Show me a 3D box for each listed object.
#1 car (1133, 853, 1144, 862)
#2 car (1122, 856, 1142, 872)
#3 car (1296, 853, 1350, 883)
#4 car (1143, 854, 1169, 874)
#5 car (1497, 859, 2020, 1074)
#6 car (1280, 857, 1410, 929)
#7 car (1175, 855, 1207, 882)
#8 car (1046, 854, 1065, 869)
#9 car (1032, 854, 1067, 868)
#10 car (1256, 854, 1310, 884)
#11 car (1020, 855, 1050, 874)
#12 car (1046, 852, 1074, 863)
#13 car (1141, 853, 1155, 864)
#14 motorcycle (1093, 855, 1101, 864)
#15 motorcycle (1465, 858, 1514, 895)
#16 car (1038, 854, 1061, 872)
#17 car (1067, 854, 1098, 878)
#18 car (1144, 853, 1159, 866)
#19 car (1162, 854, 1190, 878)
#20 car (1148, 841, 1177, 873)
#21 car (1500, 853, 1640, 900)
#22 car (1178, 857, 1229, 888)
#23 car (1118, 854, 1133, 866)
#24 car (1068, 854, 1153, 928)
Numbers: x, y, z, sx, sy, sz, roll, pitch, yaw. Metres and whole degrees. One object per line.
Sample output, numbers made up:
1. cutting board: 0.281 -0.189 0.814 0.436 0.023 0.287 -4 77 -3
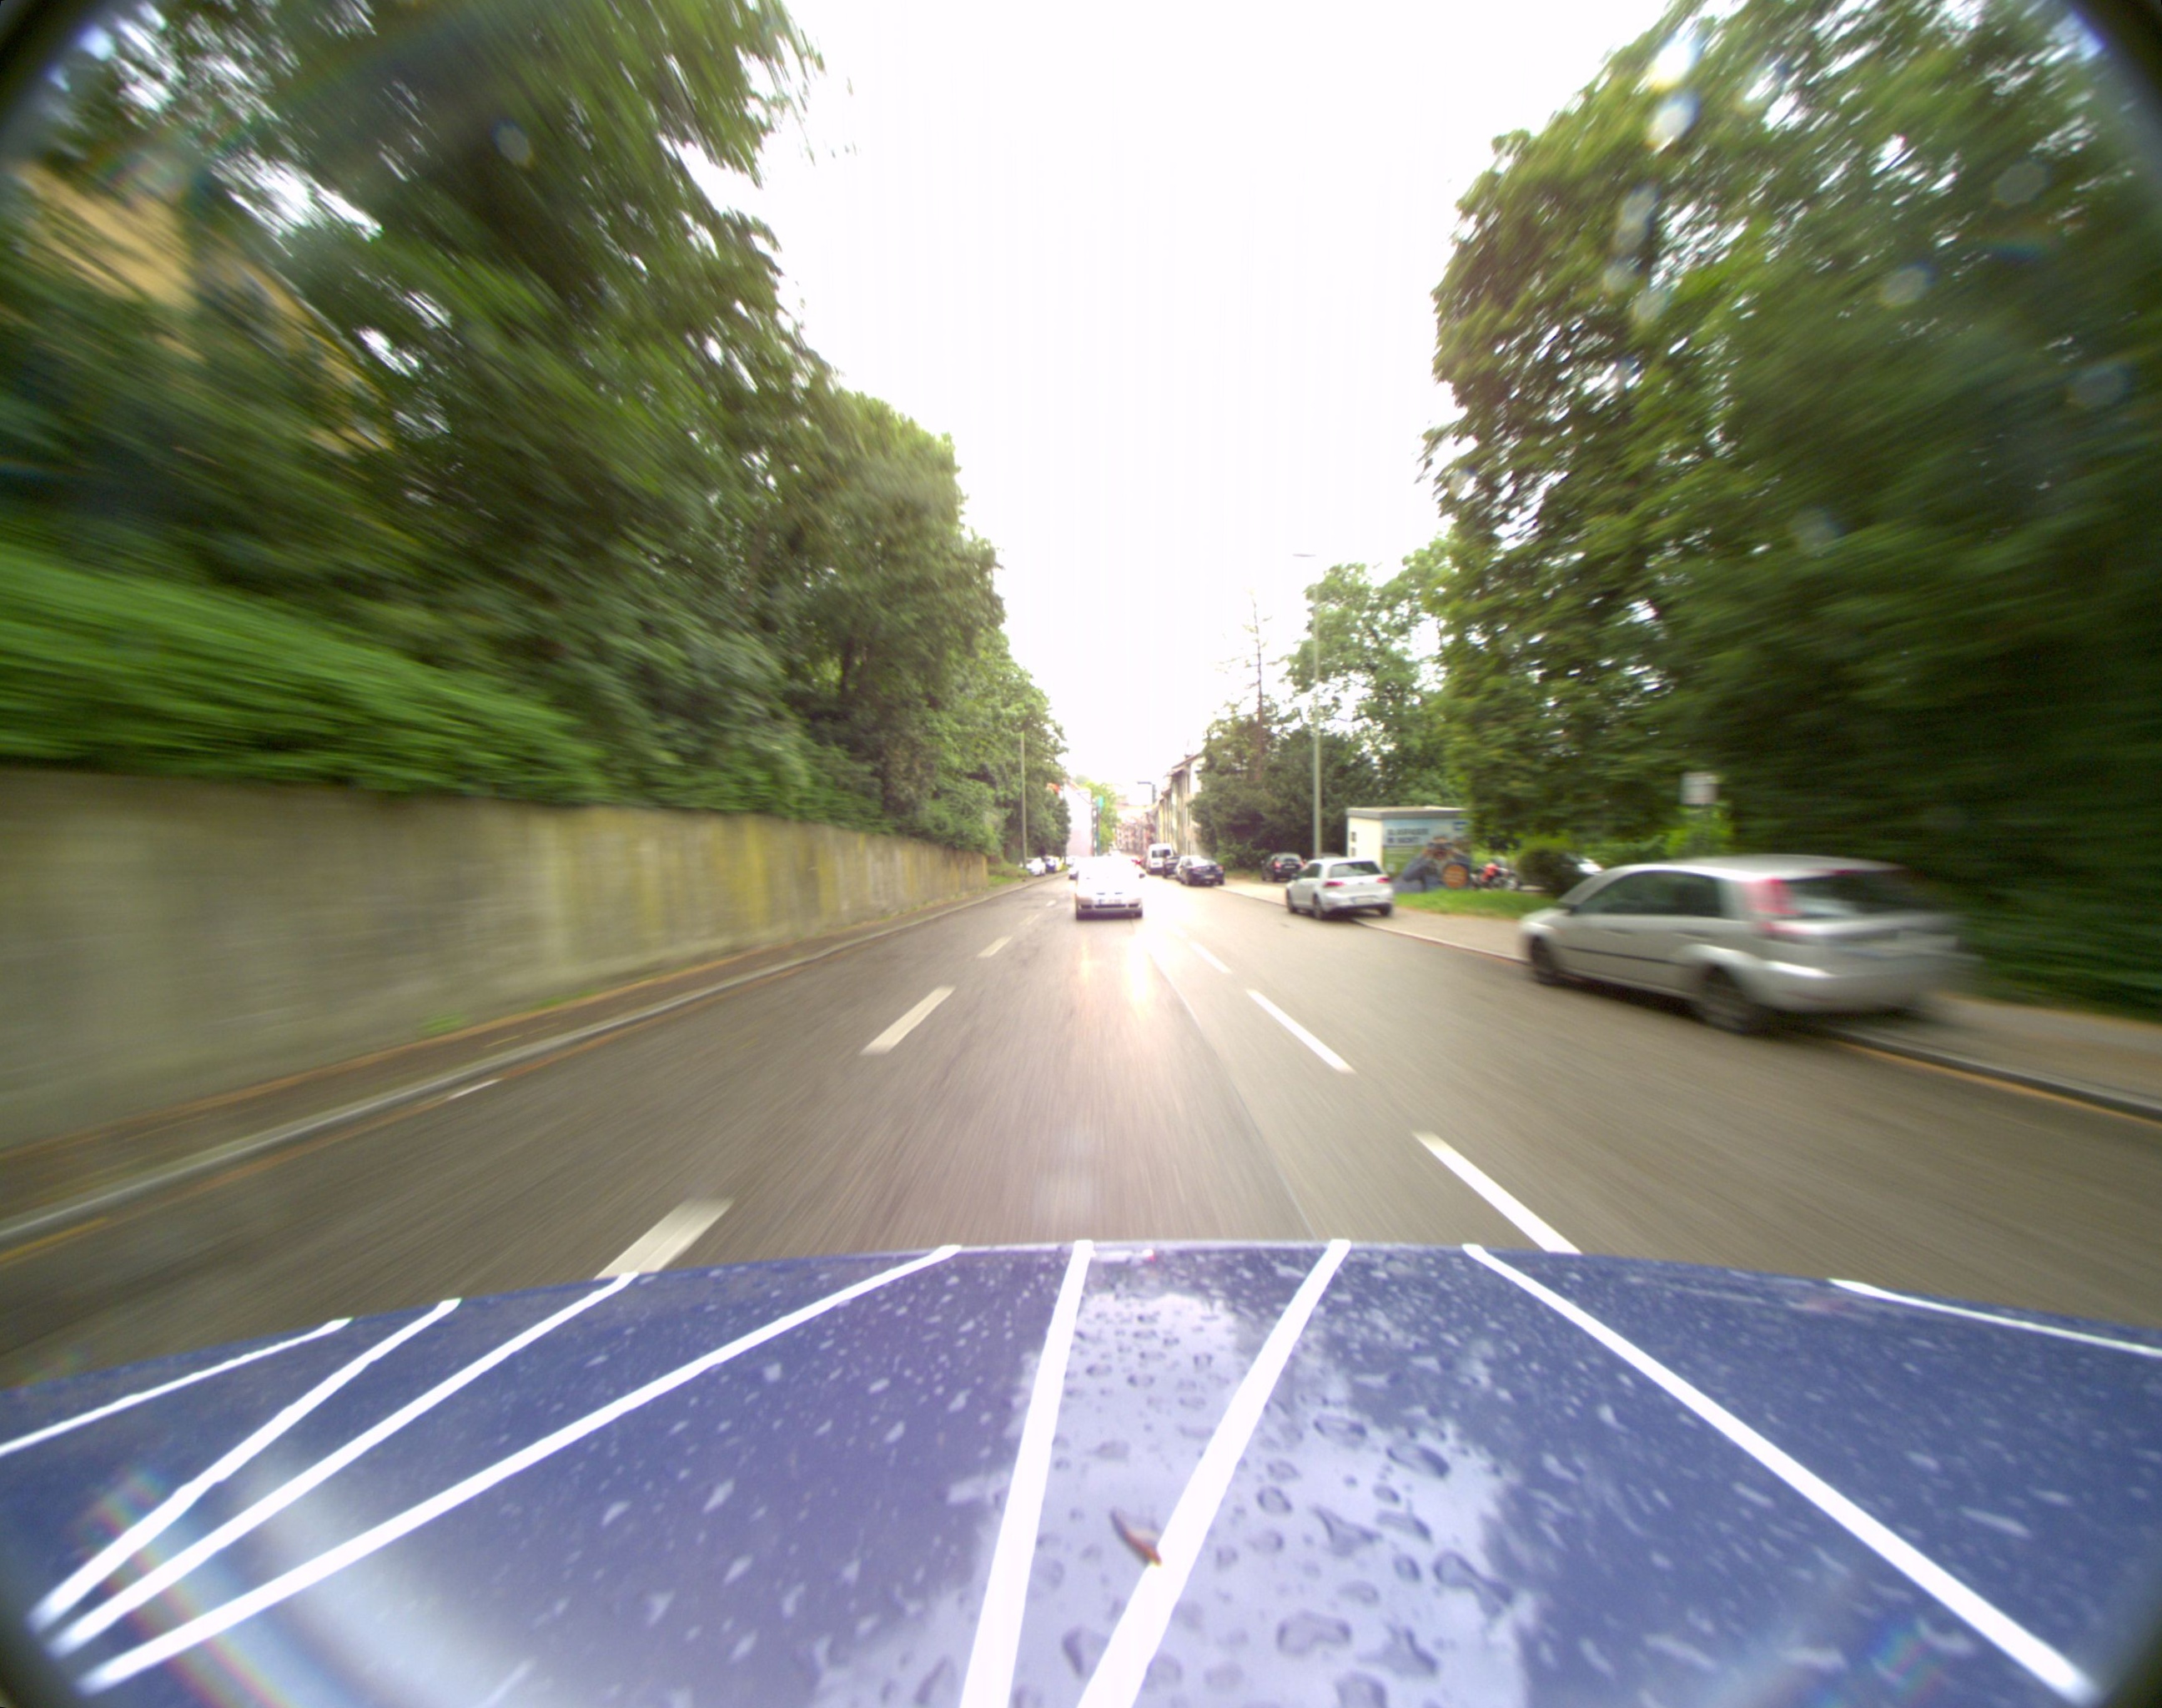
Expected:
1. car: 10.517 0.604 138.790 1.908 1.647 4.329 0 0 3
2. car: 4.684 0.893 69.658 1.764 1.482 4.001 0 0 4
3. car: 12.615 0.697 39.816 1.625 1.450 3.775 -1 0 1
4. car: 6.914 0.910 70.570 1.970 1.729 4.885 1 0 1
5. car: 6.165 0.855 7.657 1.630 1.490 3.927 -4 0 -2
6. car: 6.550 0.887 19.389 1.891 1.602 4.239 1 0 1
7. car: 6.741 0.847 46.804 1.659 1.560 4.149 -1 0 4
8. car: -2.634 0.800 79.762 1.567 1.458 3.899 1 0 4
9. car: -3.891 0.820 95.031 4.192 1.584 1.804 -2 0 3
10. car: 10.516 0.725 39.779 1.727 1.450 4.396 -1 0 1
11. car: -3.651 0.810 61.273 1.742 1.469 4.741 1 0 4
12. car: -3.268 0.512 117.744 4.192 1.565 1.804 2 1 3
13. car: 10.389 0.677 118.156 1.908 1.647 4.329 0 0 3
14. motorcycle: 2.114 0.716 101.431 0.778 1.120 2.300 -3 0 5
15. motorcycle: 14.271 0.759 26.589 0.601 1.182 2.278 -1 0 4
16. car: -2.982 0.797 72.221 1.769 1.614 4.679 -1 1 2
17. car: 0.148 0.836 54.406 1.998 1.603 3.967 -1 0 2
18. car: 8.705 0.662 93.930 1.696 1.584 4.001 0 0 2
19. car: 6.546 0.806 52.705 1.648 1.595 4.186 1 0 4
20. car: 6.844 0.267 64.071 2.122 2.536 5.445 1 0 3
21. car: 16.985 0.721 26.685 1.950 1.450 4.395 -1 0 -2
22. car: 6.390 0.936 40.052 1.864 1.485 4.755 2 0 0
23. car: 5.607 0.771 96.006 1.729 1.427 3.912 1 0 0
24. car: 0.850 0.841 19.261 1.825 1.603 4.190 -2 0 6
